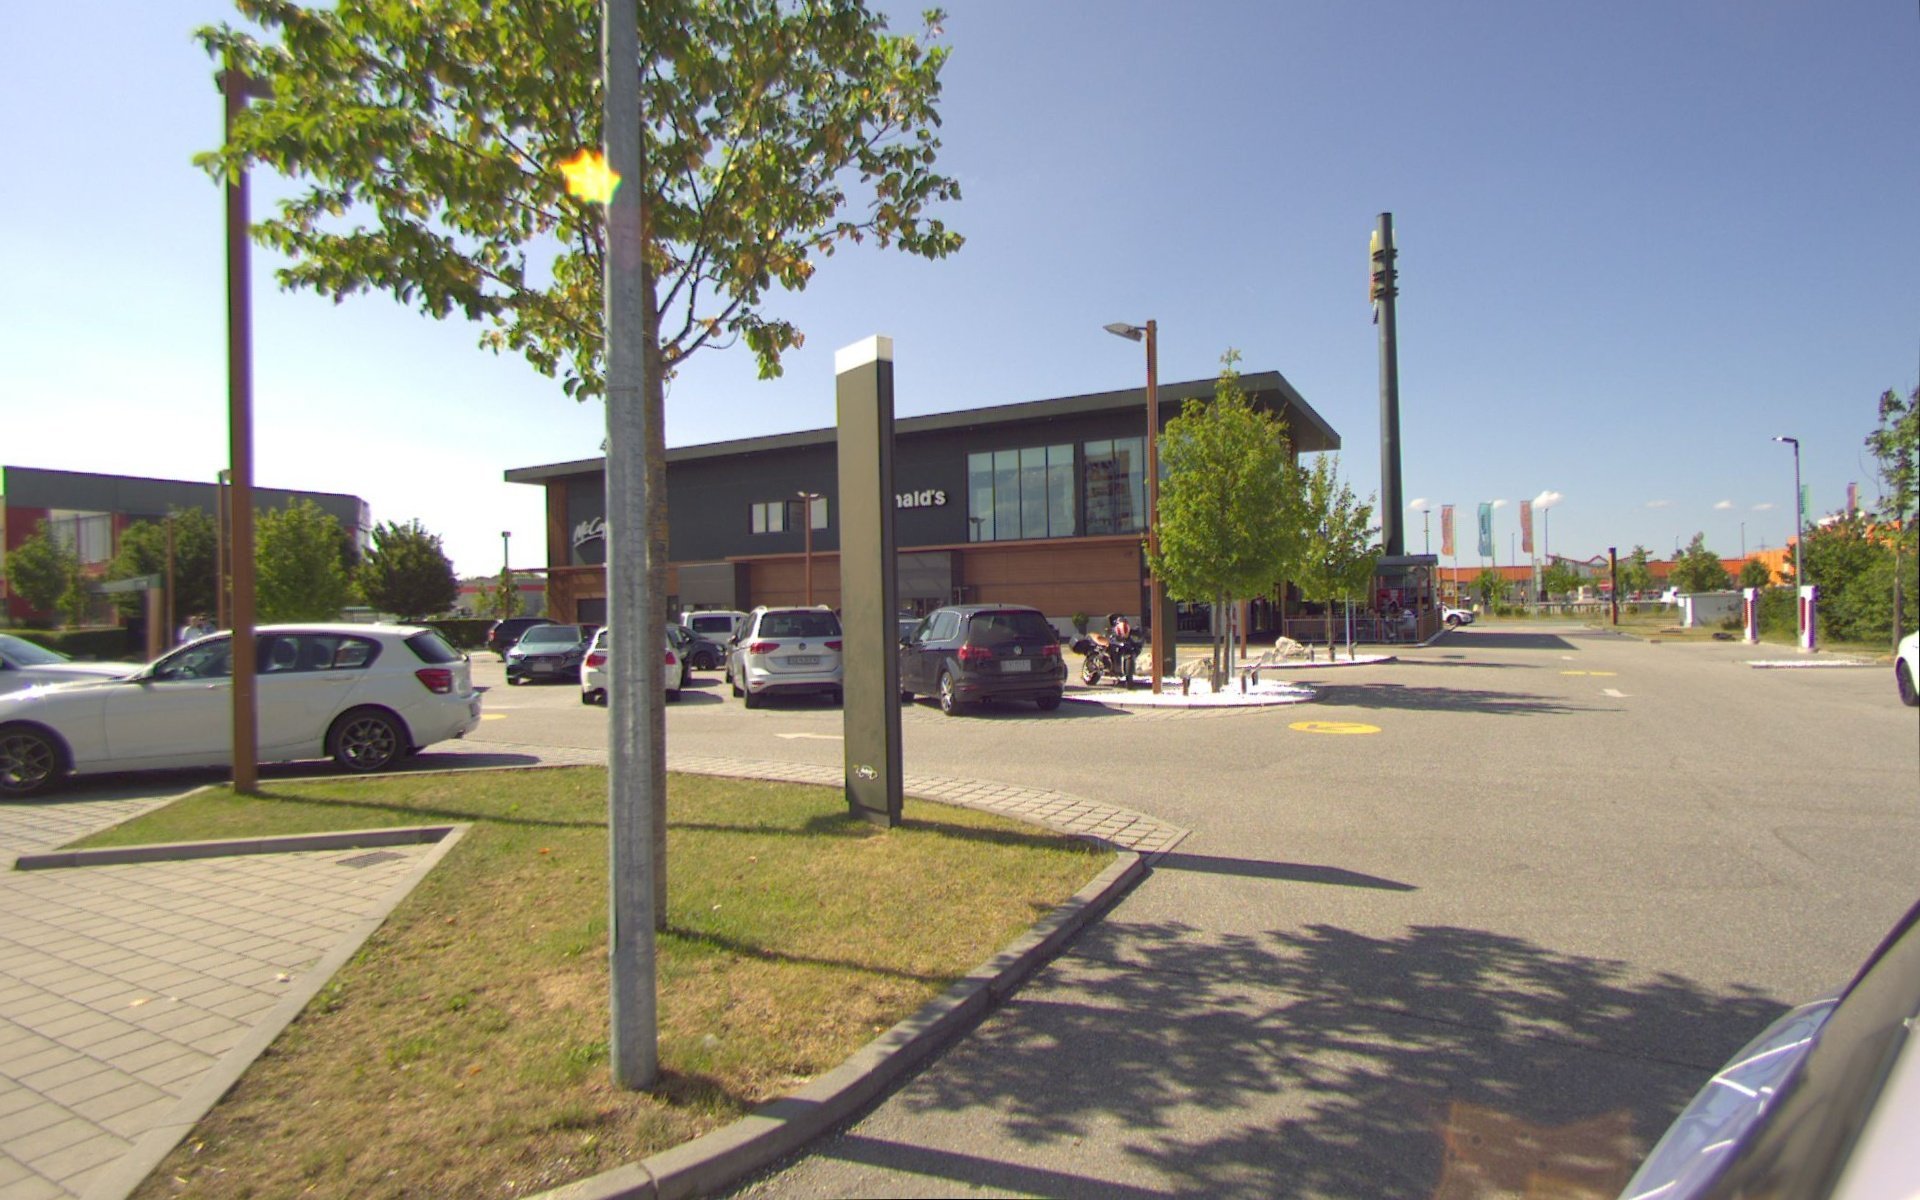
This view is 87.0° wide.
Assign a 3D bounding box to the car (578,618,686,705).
[{"bbox_3d":[-6.256,1.102,19.354,1.756,1.426,4.089,-1,-1,-18],"label":"car"}]

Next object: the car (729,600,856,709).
[{"bbox_3d":[-3.087,0.896,17.953,1.711,1.661,4.074,-1,-1,-17],"label":"car"}]

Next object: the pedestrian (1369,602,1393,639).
[{"bbox_3d":[14.570,0.712,35.029,0.708,1.274,0.520,-2,-1,25],"label":"pedestrian"}]

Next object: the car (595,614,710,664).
[{"bbox_3d":[-11.253,1.392,37.081,3.766,1.653,1.760,-1,-1,-28],"label":"car"}]

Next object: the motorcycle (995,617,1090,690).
[{"bbox_3d":[1.492,0.974,18.764,0.804,1.247,2.144,-1,-2,-23],"label":"motorcycle"}]

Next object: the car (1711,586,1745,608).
[{"bbox_3d":[73.929,-0.270,97.478,1.981,2.039,3.960,-1,-1,28],"label":"car"}]

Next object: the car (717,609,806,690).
[{"bbox_3d":[-4.499,1.037,22.719,1.774,1.614,4.007,-1,-1,-12],"label":"car"}]

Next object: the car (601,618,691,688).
[{"bbox_3d":[-7.421,1.192,24.203,1.790,1.467,4.083,-1,-1,-14],"label":"car"}]

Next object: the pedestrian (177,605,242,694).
[{"bbox_3d":[-16.968,1.102,22.896,0.898,1.940,1.014,-2,-1,40],"label":"pedestrian"}]

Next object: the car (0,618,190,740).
[{"bbox_3d":[-13.044,1.030,13.223,4.378,1.490,1.918,-1,-1,-20],"label":"car"}]

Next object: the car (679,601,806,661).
[{"bbox_3d":[-7.612,1.039,35.388,4.058,1.946,1.761,-1,-1,-22],"label":"car"}]

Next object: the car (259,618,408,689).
[{"bbox_3d":[-15.175,1.226,24.790,1.942,1.530,4.425,-1,-1,-16],"label":"car"}]

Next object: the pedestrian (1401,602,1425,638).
[{"bbox_3d":[16.264,0.726,36.352,0.721,1.274,0.568,-2,-1,24],"label":"pedestrian"}]

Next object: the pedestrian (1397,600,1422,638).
[{"bbox_3d":[15.587,0.652,35.114,0.721,1.274,0.568,-2,-1,24],"label":"pedestrian"}]

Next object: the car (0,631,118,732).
[{"bbox_3d":[-15.371,1.238,15.111,3.916,1.421,1.824,-1,-1,-19],"label":"car"}]

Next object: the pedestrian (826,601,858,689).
[{"bbox_3d":[-2.374,0.892,20.309,0.598,1.735,0.564,-1,-1,-9],"label":"pedestrian"}]

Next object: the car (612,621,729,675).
[{"bbox_3d":[-9.020,1.445,31.488,3.344,1.501,1.571,-1,-1,-21],"label":"car"}]

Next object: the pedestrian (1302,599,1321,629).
[{"bbox_3d":[13.654,0.543,39.284,0.567,1.115,0.650,-2,-1,27],"label":"pedestrian"}]

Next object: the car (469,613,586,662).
[{"bbox_3d":[-17.280,1.454,40.498,3.968,1.727,1.673,-1,0,-40],"label":"car"}]

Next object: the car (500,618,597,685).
[{"bbox_3d":[-10.639,1.267,26.452,1.847,1.530,4.551,-1,-1,-16],"label":"car"}]

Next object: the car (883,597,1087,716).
[{"bbox_3d":[0.216,0.779,15.785,1.856,1.556,4.198,-1,-1,-18],"label":"car"}]

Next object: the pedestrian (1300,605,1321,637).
[{"bbox_3d":[12.658,0.768,36.519,0.628,1.138,0.520,-2,-1,25],"label":"pedestrian"}]

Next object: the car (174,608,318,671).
[{"bbox_3d":[-17.917,0.964,25.612,1.671,1.444,3.910,-1,-1,-14],"label":"car"}]

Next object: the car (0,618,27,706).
[{"bbox_3d":[-18.200,1.085,16.594,3.918,1.508,1.823,-1,-1,-27],"label":"car"}]

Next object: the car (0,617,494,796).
[{"bbox_3d":[-6.958,0.937,9.999,4.098,1.444,1.847,-1,-1,-19],"label":"car"}]

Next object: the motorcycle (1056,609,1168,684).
[{"bbox_3d":[2.770,0.856,18.784,1.049,1.267,2.255,-2,-2,-20],"label":"motorcycle"}]

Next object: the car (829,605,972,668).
[{"bbox_3d":[-1.894,1.103,31.935,4.139,1.623,1.795,-3,2,-18],"label":"car"}]

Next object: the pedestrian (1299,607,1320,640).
[{"bbox_3d":[12.412,0.844,35.912,0.628,1.138,0.520,-2,-1,25],"label":"pedestrian"}]

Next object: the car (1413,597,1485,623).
[{"bbox_3d":[32.995,0.690,68.395,1.776,1.683,3.998,0,-1,-36],"label":"car"}]

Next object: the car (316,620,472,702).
[{"bbox_3d":[-12.060,1.217,21.876,1.942,1.530,4.425,-1,-1,-16],"label":"car"}]

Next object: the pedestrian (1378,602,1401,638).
[{"bbox_3d":[15.566,0.731,36.697,0.708,1.274,0.520,-2,-1,25],"label":"pedestrian"}]

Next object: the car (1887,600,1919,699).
[{"bbox_3d":[13.949,0.692,12.999,1.804,1.395,4.408,-2,-1,26],"label":"car"}]

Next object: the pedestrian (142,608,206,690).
[{"bbox_3d":[-19.160,1.187,24.696,0.884,1.940,0.919,-1,-1,-6],"label":"pedestrian"}]

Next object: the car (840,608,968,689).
[{"bbox_3d":[-1.323,1.009,21.553,1.797,1.466,4.670,-1,-2,-15],"label":"car"}]

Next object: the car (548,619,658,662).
[{"bbox_3d":[-13.775,1.544,39.138,3.700,1.462,1.675,-2,0,-33],"label":"car"}]
